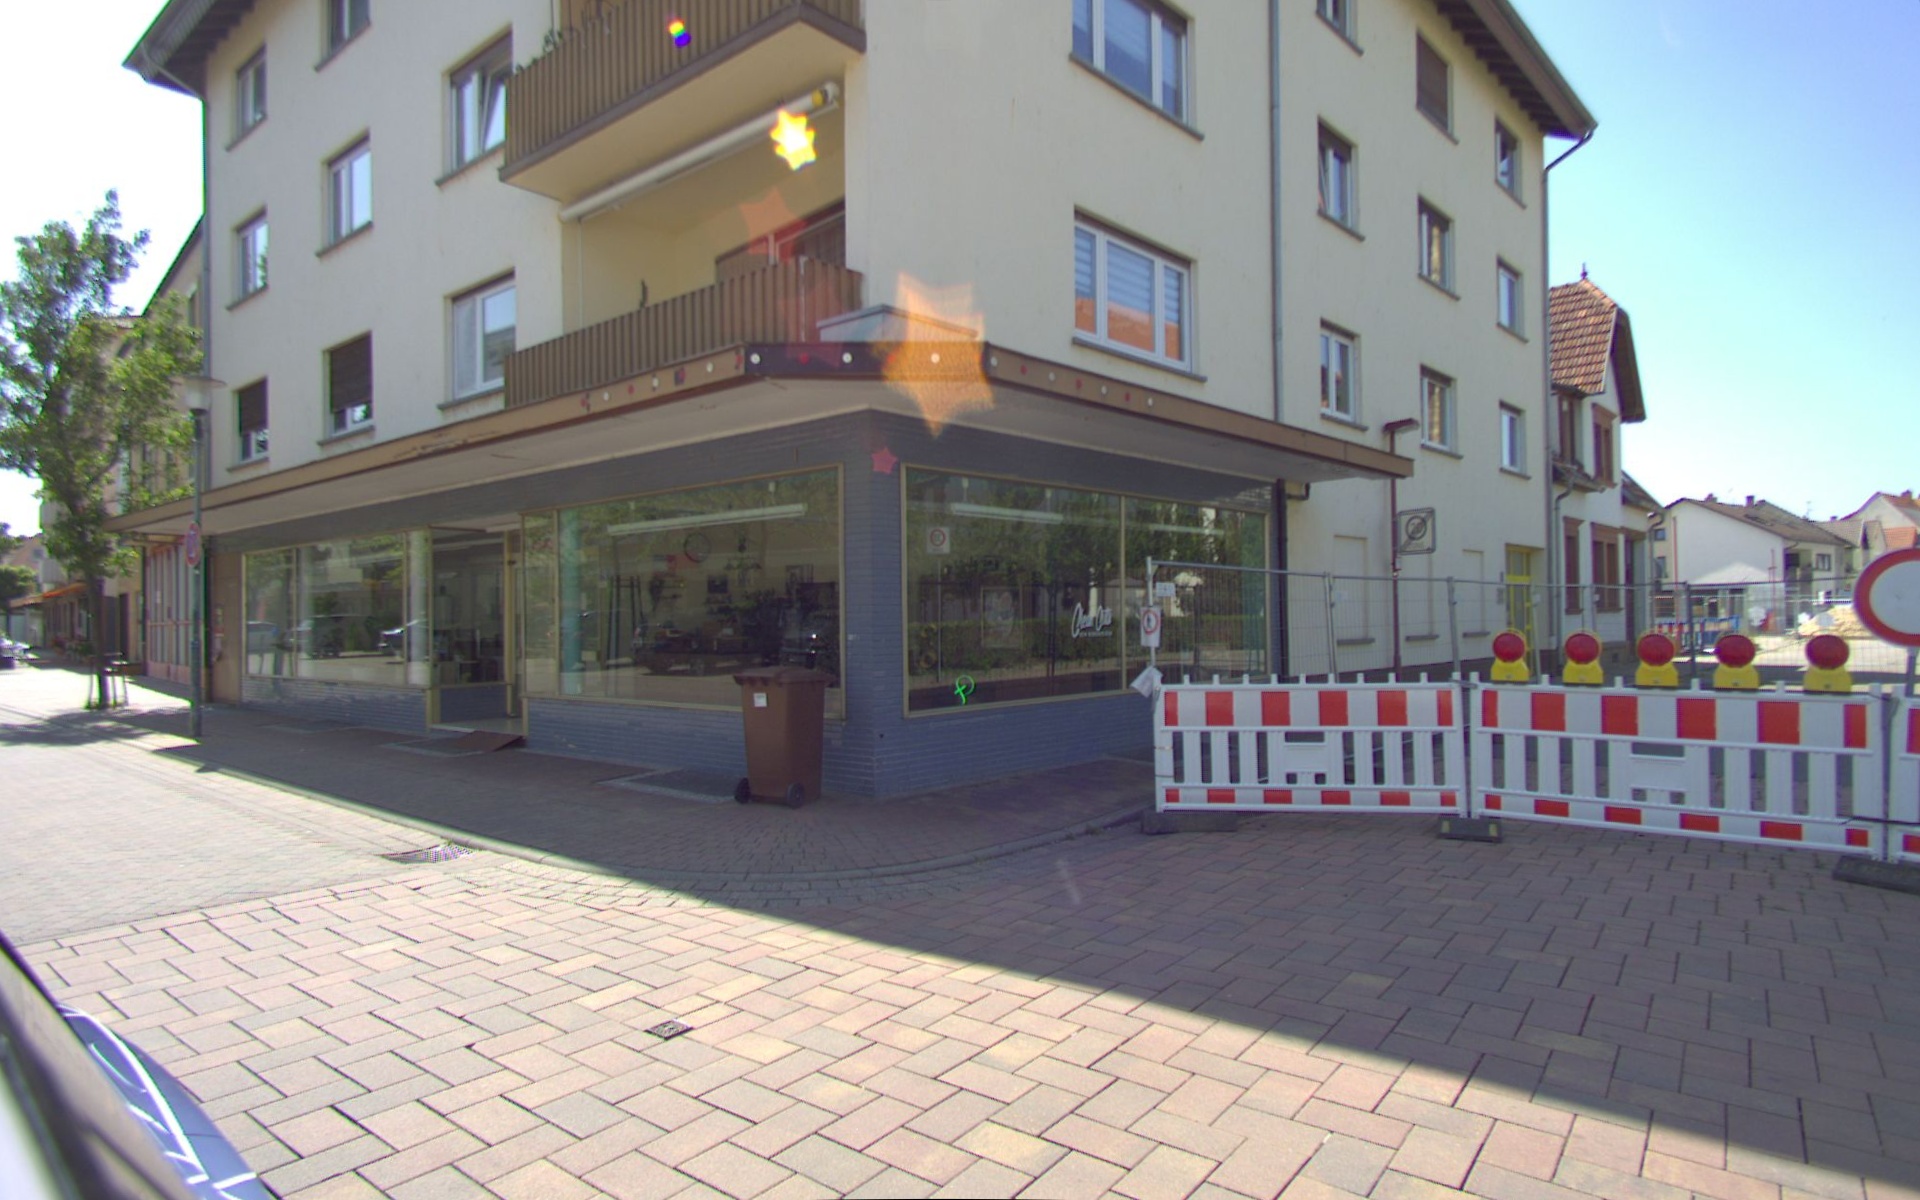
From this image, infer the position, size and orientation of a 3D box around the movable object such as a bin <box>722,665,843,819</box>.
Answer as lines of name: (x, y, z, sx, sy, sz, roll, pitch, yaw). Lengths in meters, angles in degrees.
movable object such as a bin: (-1.380, 1.075, 7.901, 0.662, 1.078, 0.650, -1, -1, 32)
